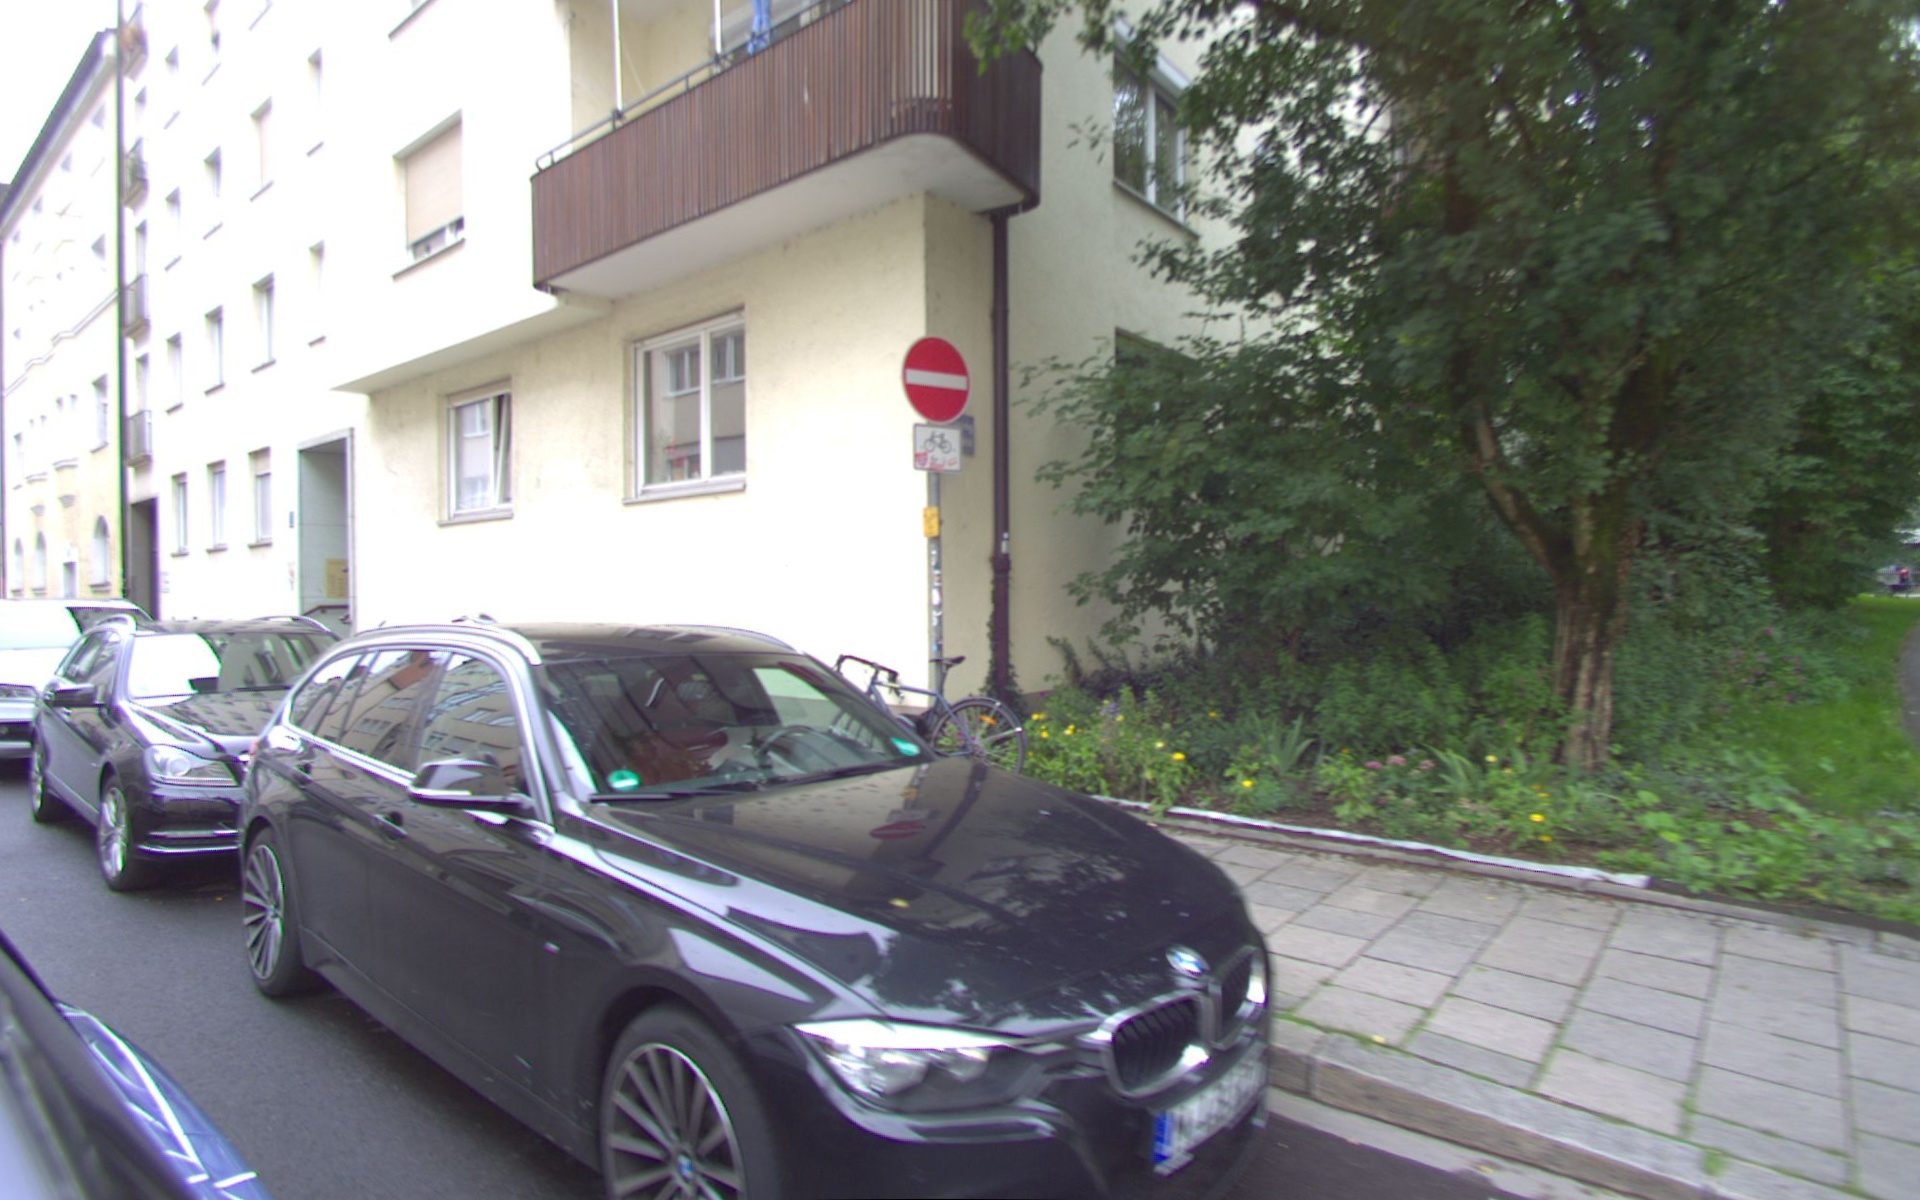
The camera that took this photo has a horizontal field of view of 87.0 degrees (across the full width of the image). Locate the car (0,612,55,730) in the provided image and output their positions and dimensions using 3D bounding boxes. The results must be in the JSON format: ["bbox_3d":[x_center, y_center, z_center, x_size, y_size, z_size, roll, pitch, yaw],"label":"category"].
[{"bbox_3d":[-13.615,0.900,13.626,3.800,1.446,1.635,0,0,40],"label":"car"}]

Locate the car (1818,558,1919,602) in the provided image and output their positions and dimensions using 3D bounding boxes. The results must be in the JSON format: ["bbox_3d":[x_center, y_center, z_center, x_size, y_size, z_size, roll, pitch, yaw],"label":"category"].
[{"bbox_3d":[38.189,-0.818,41.968,3.813,1.719,1.747,-2,0,45],"label":"car"}]

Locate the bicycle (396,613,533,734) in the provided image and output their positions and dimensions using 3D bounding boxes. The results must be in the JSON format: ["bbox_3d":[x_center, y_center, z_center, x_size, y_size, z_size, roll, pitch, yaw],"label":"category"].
[{"bbox_3d":[-5.304,0.737,10.793,1.788,1.170,0.638,0,-1,41],"label":"bicycle"}]

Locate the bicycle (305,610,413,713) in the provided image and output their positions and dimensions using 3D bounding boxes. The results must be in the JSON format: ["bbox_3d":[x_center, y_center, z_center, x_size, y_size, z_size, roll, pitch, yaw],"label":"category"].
[{"bbox_3d":[-7.395,0.719,12.424,1.788,1.170,0.575,0,-2,41],"label":"bicycle"}]

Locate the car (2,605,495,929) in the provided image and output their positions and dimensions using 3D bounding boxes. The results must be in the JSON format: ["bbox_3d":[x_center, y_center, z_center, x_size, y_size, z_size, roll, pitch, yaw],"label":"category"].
[{"bbox_3d":[-5.005,0.788,6.841,4.422,1.494,1.747,0,0,41],"label":"car"}]

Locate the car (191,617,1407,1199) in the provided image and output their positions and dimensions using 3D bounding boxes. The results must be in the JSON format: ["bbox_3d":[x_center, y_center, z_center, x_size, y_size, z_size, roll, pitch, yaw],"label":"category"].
[{"bbox_3d":[-1.004,0.774,3.554,4.380,1.419,1.837,-1,-1,41],"label":"car"}]

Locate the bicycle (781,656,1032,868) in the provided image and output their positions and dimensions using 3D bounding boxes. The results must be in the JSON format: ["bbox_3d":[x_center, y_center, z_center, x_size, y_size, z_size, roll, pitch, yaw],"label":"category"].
[{"bbox_3d":[-0.402,0.996,6.744,1.788,1.170,0.529,0,-1,41],"label":"bicycle"}]

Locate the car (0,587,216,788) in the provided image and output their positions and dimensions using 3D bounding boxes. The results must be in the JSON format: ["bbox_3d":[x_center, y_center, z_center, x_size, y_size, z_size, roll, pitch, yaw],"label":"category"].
[{"bbox_3d":[-9.353,0.737,10.393,4.363,1.688,1.748,0,0,39],"label":"car"}]
